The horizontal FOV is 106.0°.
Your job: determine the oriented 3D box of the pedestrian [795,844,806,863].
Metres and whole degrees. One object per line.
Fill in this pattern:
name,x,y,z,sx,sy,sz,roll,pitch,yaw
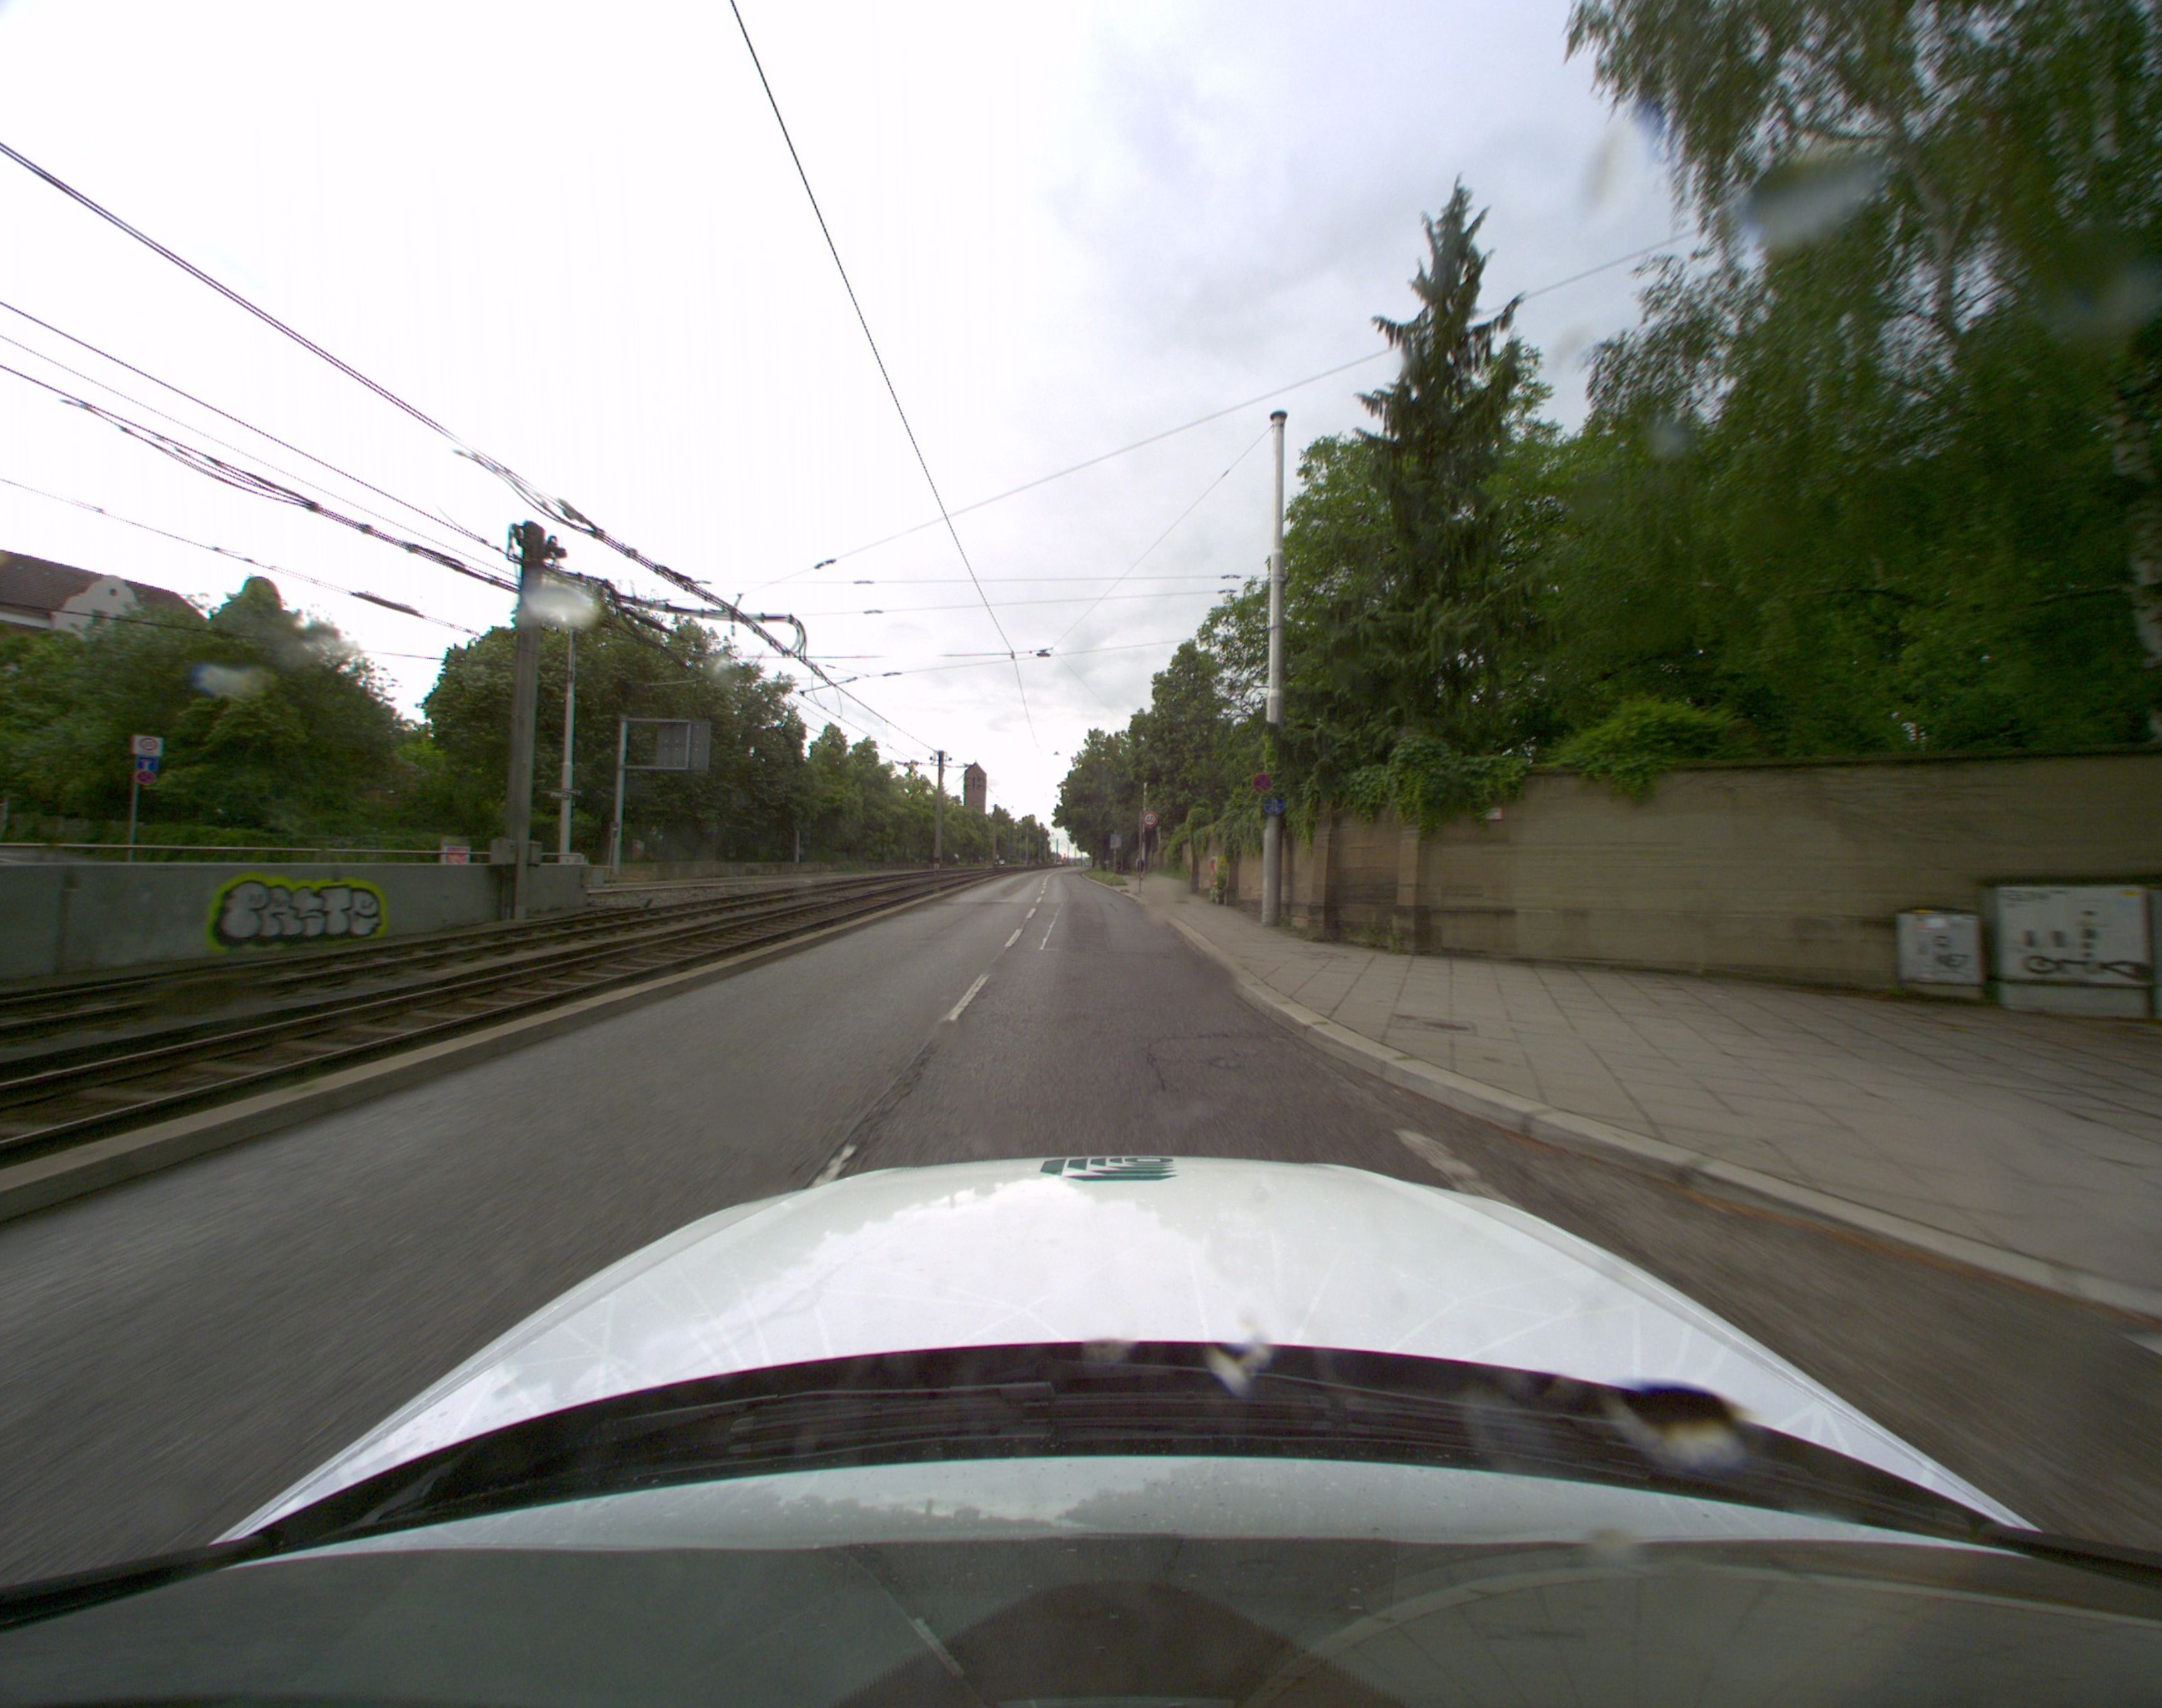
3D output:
pedestrian,-24.475,-0.020,71.053,0.646,1.661,0.650,-1,0,1

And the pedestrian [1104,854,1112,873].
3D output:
pedestrian,2.492,0.896,75.015,0.717,1.687,0.729,2,-1,0

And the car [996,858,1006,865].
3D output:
car,-18.518,1.656,189.257,1.788,1.510,3.849,1,0,0

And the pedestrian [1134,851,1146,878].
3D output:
pedestrian,4.121,0.762,56.841,0.717,1.850,0.783,2,-1,0
